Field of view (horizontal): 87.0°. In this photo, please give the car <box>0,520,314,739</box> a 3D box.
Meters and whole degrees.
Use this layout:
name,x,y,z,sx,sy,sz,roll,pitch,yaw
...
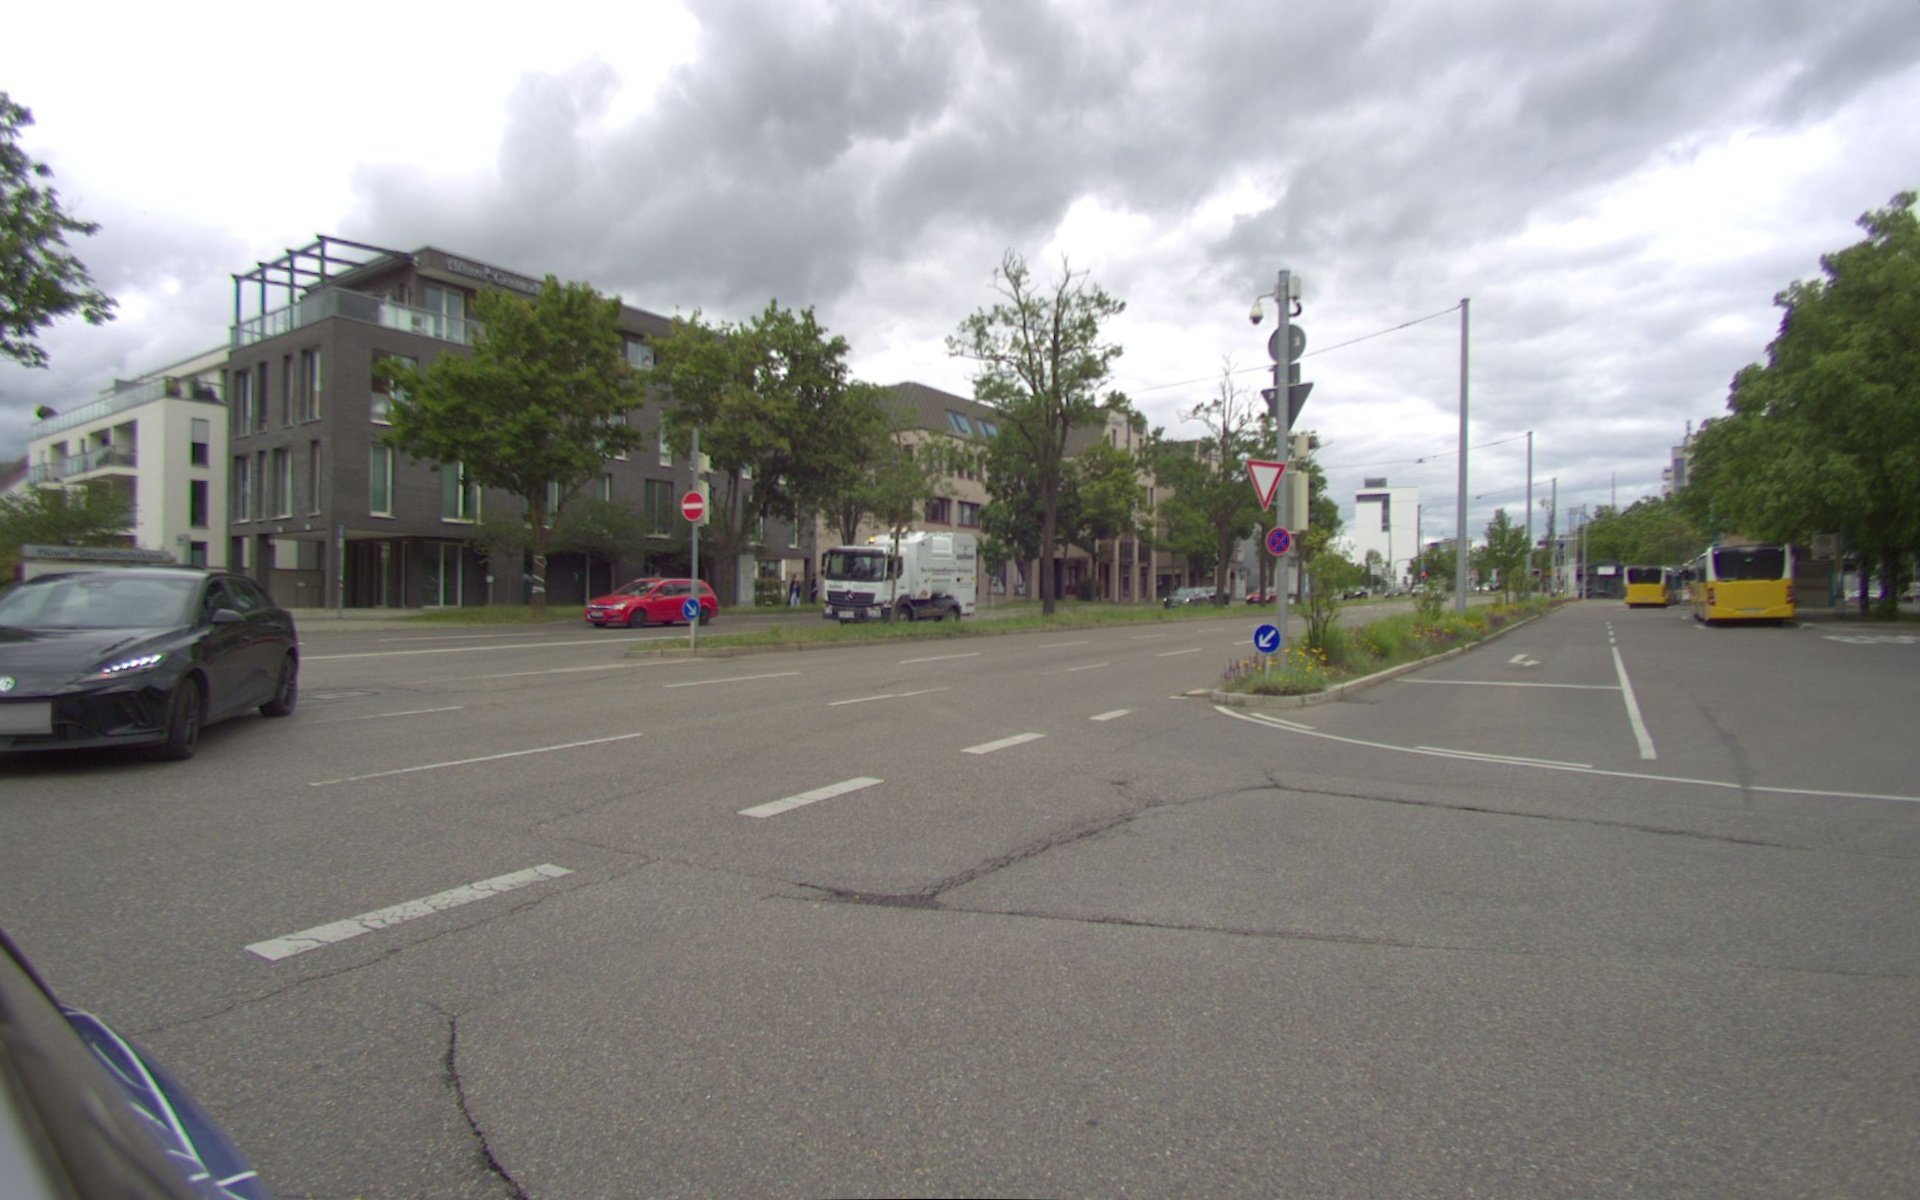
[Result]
name,x,y,z,sx,sy,sz,roll,pitch,yaw
car,-7.287,0.122,8.820,1.770,1.494,4.032,3,1,-18

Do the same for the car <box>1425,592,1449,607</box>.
name,x,y,z,sx,sy,sz,roll,pitch,yaw
car,52.990,-0.096,112.332,1.746,1.540,3.705,-1,1,36

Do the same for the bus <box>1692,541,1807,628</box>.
name,x,y,z,sx,sy,sz,roll,pitch,yaw
bus,30.851,-0.619,39.850,3.046,3.031,8.331,-1,1,35

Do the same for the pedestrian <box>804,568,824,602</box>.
name,x,y,z,sx,sy,sz,roll,pitch,yaw
pedestrian,-6.956,-0.714,48.240,0.691,1.632,0.592,-1,1,32

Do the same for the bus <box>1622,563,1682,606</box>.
name,x,y,z,sx,sy,sz,roll,pitch,yaw
bus,52.666,-1.194,76.904,3.291,3.031,10.103,-1,1,37

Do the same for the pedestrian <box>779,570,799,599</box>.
name,x,y,z,sx,sy,sz,roll,pitch,yaw
pedestrian,-8.261,-0.748,48.828,0.691,1.401,0.592,-1,1,32

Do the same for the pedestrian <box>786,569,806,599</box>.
name,x,y,z,sx,sy,sz,roll,pitch,yaw
pedestrian,-7.823,-0.768,48.200,0.691,1.444,0.592,-1,1,32

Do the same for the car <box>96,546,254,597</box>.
name,x,y,z,sx,sy,sz,roll,pitch,yaw
car,-28.156,-0.975,36.406,1.995,1.613,4.077,-1,-2,34

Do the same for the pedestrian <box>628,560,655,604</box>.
name,x,y,z,sx,sy,sz,roll,pitch,yaw
pedestrian,-12.769,-0.715,40.597,0.690,1.759,0.692,-1,1,27

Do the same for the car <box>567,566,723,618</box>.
name,x,y,z,sx,sy,sz,roll,pitch,yaw
car,-9.425,-0.243,30.591,1.992,1.434,4.312,1,1,30

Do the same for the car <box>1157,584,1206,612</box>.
name,x,y,z,sx,sy,sz,roll,pitch,yaw
car,14.460,-0.160,65.847,1.990,1.707,4.562,-1,1,27

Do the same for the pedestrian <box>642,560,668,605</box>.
name,x,y,z,sx,sy,sz,roll,pitch,yaw
pedestrian,-12.121,-0.696,40.226,0.690,1.759,0.643,-1,1,27

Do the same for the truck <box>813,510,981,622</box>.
name,x,y,z,sx,sy,sz,roll,pitch,yaw
truck,-1.832,-1.052,32.680,2.426,3.219,6.407,3,1,27

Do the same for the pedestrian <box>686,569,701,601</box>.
name,x,y,z,sx,sy,sz,roll,pitch,yaw
pedestrian,-11.549,-0.663,43.927,0.527,1.367,0.660,-1,1,-9

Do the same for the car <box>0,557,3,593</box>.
name,x,y,z,sx,sy,sz,roll,pitch,yaw
car,-46.026,-1.092,46.663,3.815,1.652,1.857,-1,1,32

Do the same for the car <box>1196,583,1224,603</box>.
name,x,y,z,sx,sy,sz,roll,pitch,yaw
car,19.738,-0.533,79.819,1.758,1.497,3.876,-1,-2,21

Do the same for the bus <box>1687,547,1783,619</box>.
name,x,y,z,sx,sy,sz,roll,pitch,yaw
bus,35.980,-0.810,47.297,3.046,3.031,9.583,-1,1,35

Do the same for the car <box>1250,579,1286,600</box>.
name,x,y,z,sx,sy,sz,roll,pitch,yaw
car,24.490,-0.803,80.353,1.818,1.497,4.333,-1,-2,29
